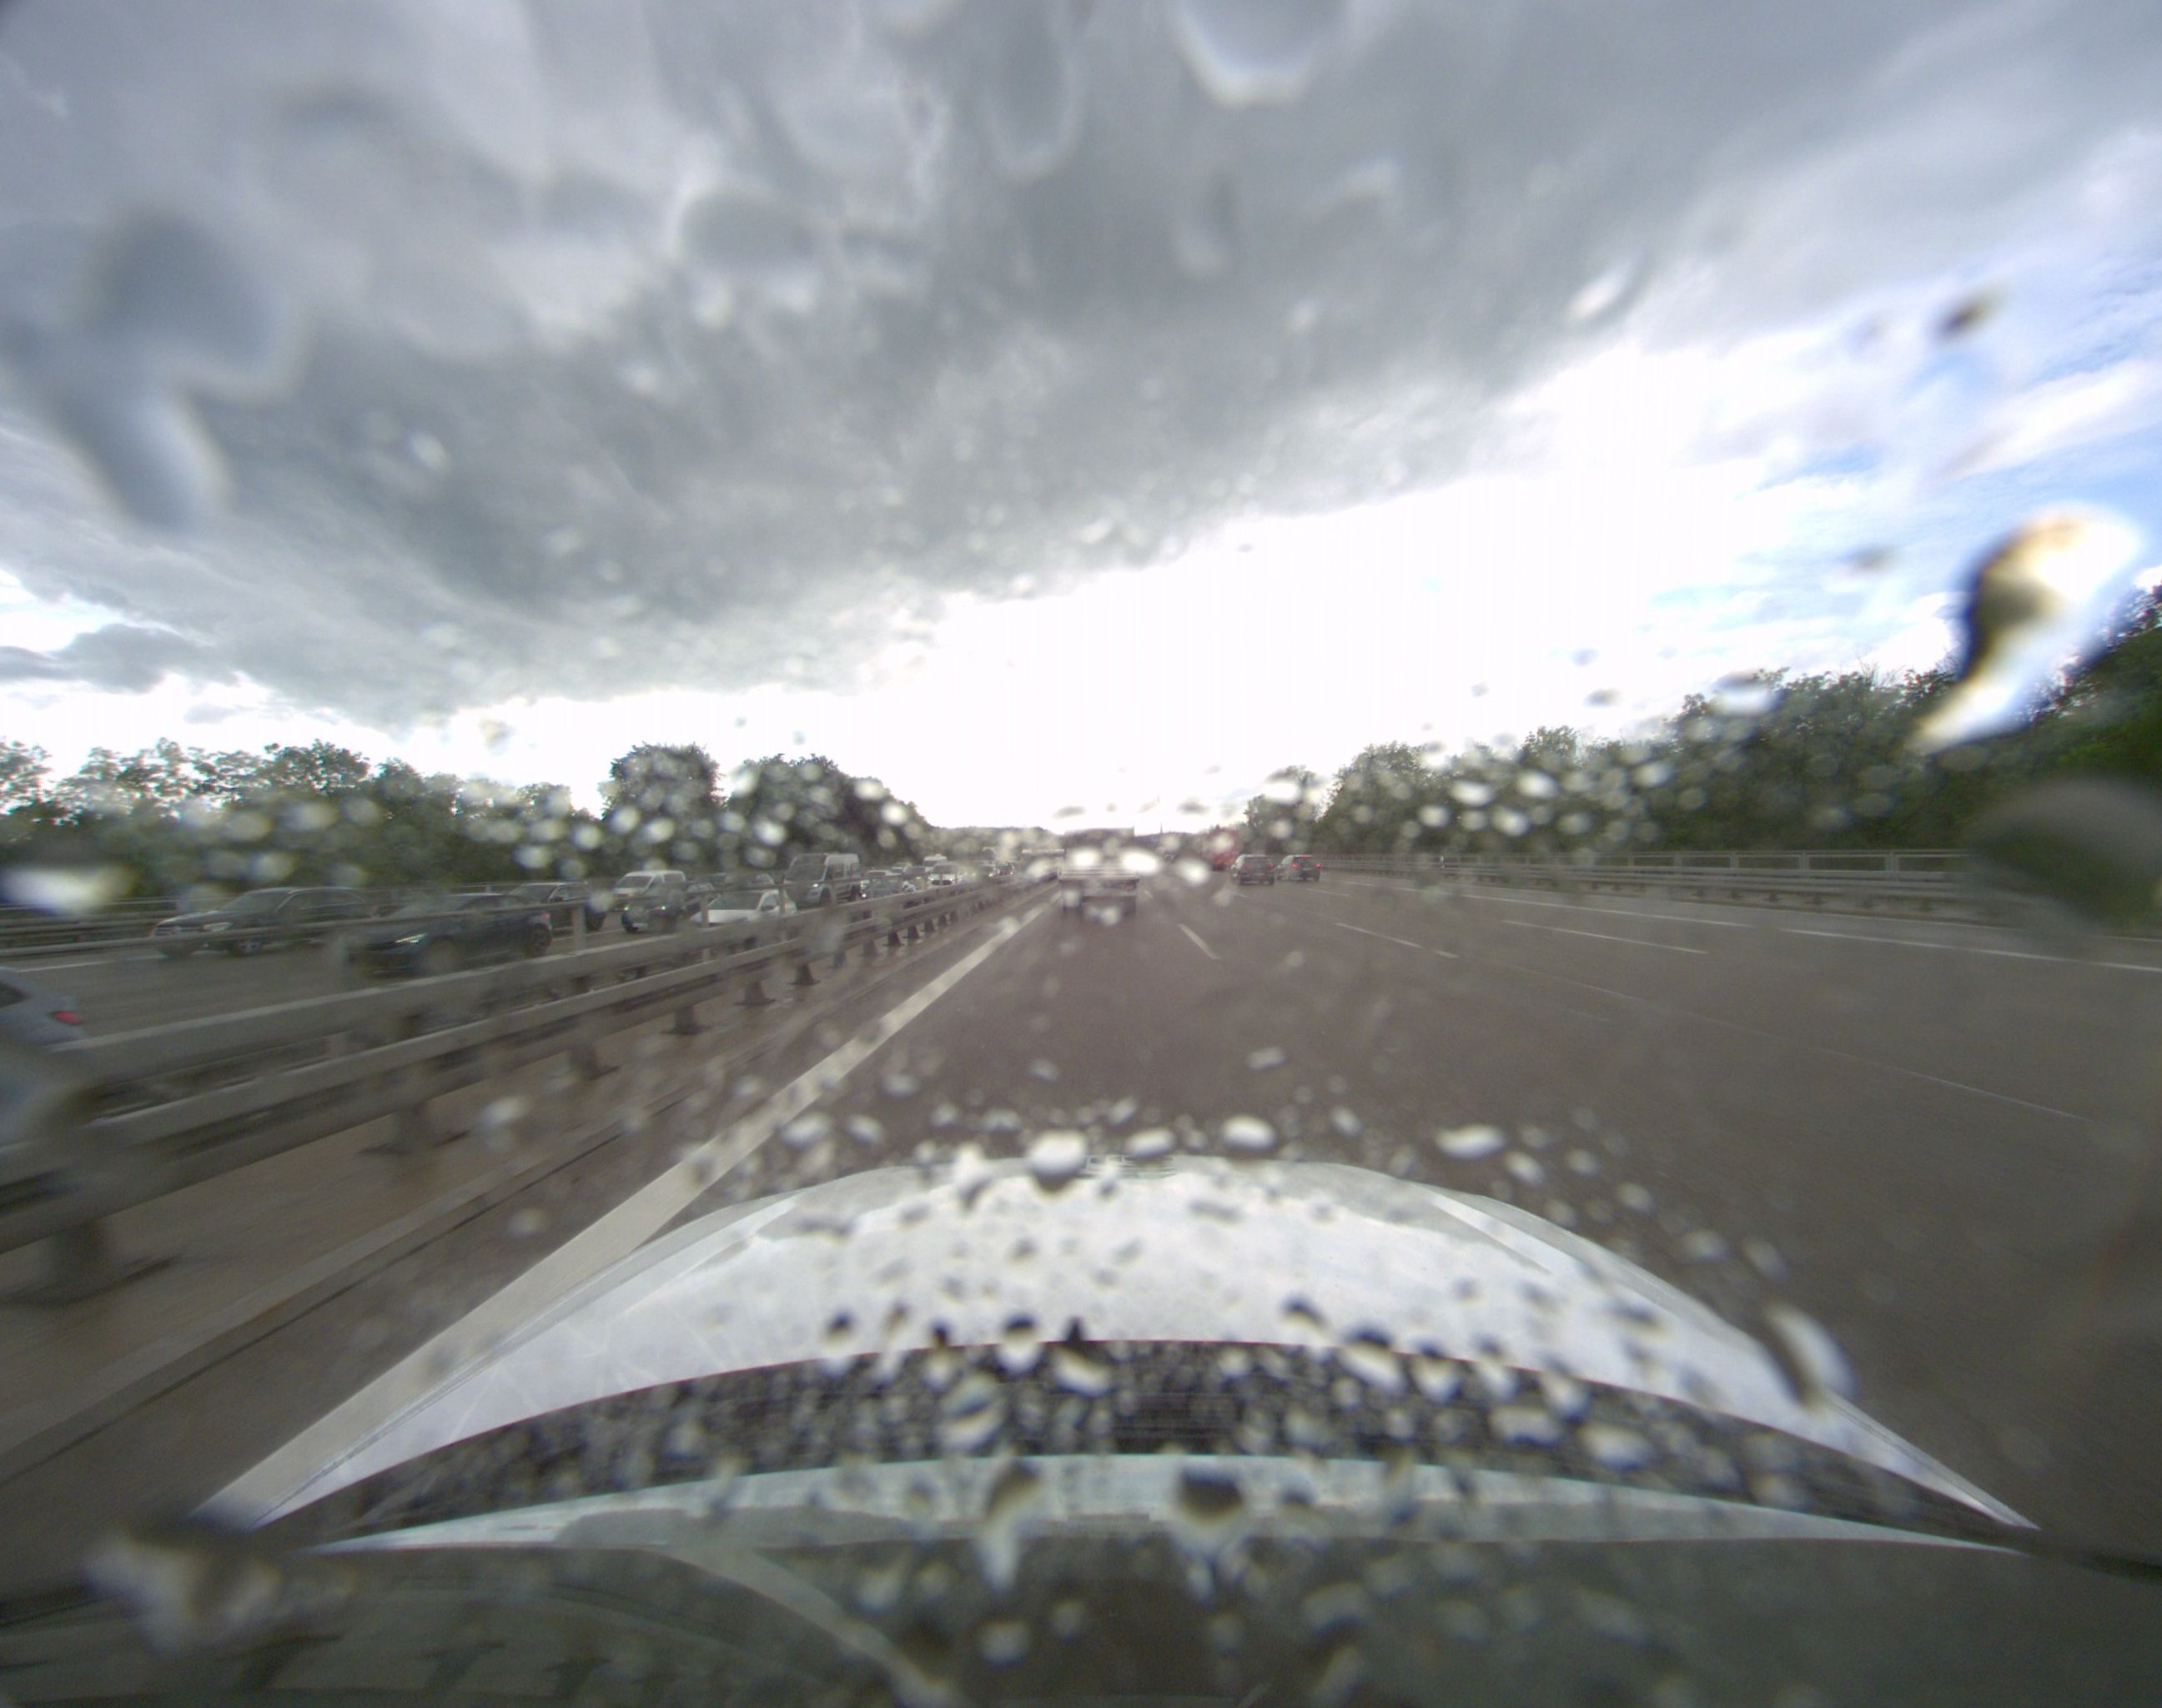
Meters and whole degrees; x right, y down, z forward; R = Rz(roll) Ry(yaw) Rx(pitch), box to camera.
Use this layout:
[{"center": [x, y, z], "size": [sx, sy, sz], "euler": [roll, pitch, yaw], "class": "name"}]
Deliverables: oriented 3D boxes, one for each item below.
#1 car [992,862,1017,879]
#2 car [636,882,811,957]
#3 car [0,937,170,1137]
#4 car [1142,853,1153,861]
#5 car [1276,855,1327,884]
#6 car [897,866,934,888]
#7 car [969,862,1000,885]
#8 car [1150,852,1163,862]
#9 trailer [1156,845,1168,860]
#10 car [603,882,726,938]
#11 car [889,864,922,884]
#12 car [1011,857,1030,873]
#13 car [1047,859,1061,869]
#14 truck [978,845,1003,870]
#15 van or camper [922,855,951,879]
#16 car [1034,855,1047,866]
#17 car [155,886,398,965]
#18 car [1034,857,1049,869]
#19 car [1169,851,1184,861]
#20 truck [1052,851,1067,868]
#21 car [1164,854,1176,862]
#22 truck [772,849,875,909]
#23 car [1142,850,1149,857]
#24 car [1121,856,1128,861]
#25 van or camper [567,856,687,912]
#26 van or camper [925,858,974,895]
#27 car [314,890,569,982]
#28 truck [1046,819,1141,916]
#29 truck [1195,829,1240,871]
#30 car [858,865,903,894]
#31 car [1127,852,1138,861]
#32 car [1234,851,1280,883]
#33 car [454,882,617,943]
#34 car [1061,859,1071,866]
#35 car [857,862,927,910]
[{"center": [-7.433, 1.585, 79.500], "size": [1.867, 1.392, 5.365], "euler": [-2, 0, 1], "class": "car"}, {"center": [-9.280, 1.621, 21.852], "size": [1.824, 1.475, 5.928], "euler": [-2, 0, 3], "class": "car"}, {"center": [-9.885, 1.597, 5.380], "size": [1.946, 1.514, 5.071], "euler": [-2, 0, 1], "class": "car"}, {"center": [13.976, 0.589, 171.415], "size": [2.037, 1.699, 4.003], "euler": [-1, 0, 3], "class": "car"}, {"center": [12.587, 0.841, 46.753], "size": [1.808, 1.543, 4.359], "euler": [-1, 0, 1], "class": "car"}, {"center": [-12.300, 1.690, 60.870], "size": [1.671, 1.409, 5.016], "euler": [-2, 0, 1], "class": "car"}, {"center": [-7.866, 1.534, 66.683], "size": [1.819, 1.675, 5.358], "euler": [-2, 0, 1], "class": "car"}, {"center": [13.992, 0.587, 151.383], "size": [2.090, 1.699, 4.001], "euler": [-1, 0, 1], "class": "car"}, {"center": [22.530, -0.330, 227.322], "size": [3.317, 4.176, 11.853], "euler": [-1, 0, 5], "class": "trailer"}, {"center": [-13.340, 1.737, 26.405], "size": [1.825, 1.475, 4.033], "euler": [-2, 0, 1], "class": "car"}, {"center": [-14.661, 1.630, 68.151], "size": [1.784, 1.501, 4.000], "euler": [-2, 0, 0], "class": "car"}, {"center": [-7.479, 1.311, 101.066], "size": [1.859, 1.826, 5.709], "euler": [-2, 0, 1], "class": "car"}, {"center": [-4.409, 1.546, 131.721], "size": [1.987, 1.463, 4.842], "euler": [-2, 0, 1], "class": "car"}, {"center": [-15.977, 0.552, 143.951], "size": [3.234, 4.250, 6.887], "euler": [-2, 0, 3], "class": "truck"}, {"center": [-17.808, 1.502, 100.702], "size": [2.194, 2.765, 7.232], "euler": [-2, 0, 1], "class": "van or camper"}, {"center": [-9.358, 1.420, 188.141], "size": [2.147, 2.504, 6.777], "euler": [-2, 0, 3], "class": "car"}, {"center": [-21.107, 1.788, 21.718], "size": [1.680, 1.647, 4.671], "euler": [-2, 0, 2], "class": "car"}, {"center": [-5.645, 1.260, 117.427], "size": [1.861, 1.669, 5.174], "euler": [-2, 0, 1], "class": "car"}, {"center": [17.217, 0.364, 147.202], "size": [2.097, 1.605, 5.067], "euler": [-1, 0, 1], "class": "car"}, {"center": [-5.410, 1.405, 205.067], "size": [2.869, 4.180, 7.562], "euler": [-2, 0, 3], "class": "truck"}, {"center": [18.590, 0.766, 169.675], "size": [2.038, 1.699, 5.008], "euler": [-1, 0, 1], "class": "car"}, {"center": [-12.655, 1.120, 40.892], "size": [2.138, 2.602, 8.758], "euler": [-2, 0, 1], "class": "truck"}, {"center": [18.169, -0.112, 229.116], "size": [1.985, 1.739, 4.004], "euler": [-1, 0, 4], "class": "car"}, {"center": [12.608, 1.278, 234.531], "size": [1.805, 1.446, 4.002], "euler": [-2, 0, 2], "class": "car"}, {"center": [-20.776, 1.291, 37.692], "size": [2.038, 2.330, 5.936], "euler": [-2, 0, 1], "class": "van or camper"}, {"center": [-8.090, 1.314, 50.616], "size": [1.977, 2.068, 5.643], "euler": [-2, 0, 1], "class": "van or camper"}, {"center": [-13.603, 1.662, 17.781], "size": [1.825, 1.475, 4.577], "euler": [-2, 0, 1], "class": "car"}, {"center": [0.403, 0.340, 24.003], "size": [2.344, 2.408, 7.360], "euler": [0, 0, 1], "class": "truck"}, {"center": [14.194, -0.413, 86.053], "size": [3.138, 4.003, 15.653], "euler": [-1, 0, 4], "class": "truck"}, {"center": [-12.290, 1.555, 50.174], "size": [1.671, 1.636, 4.000], "euler": [-2, 0, 1], "class": "car"}, {"center": [10.676, 0.506, 168.809], "size": [1.965, 1.699, 4.001], "euler": [-1, 0, 1], "class": "car"}, {"center": [9.085, 0.637, 42.329], "size": [1.784, 1.562, 3.725], "euler": [-1, 0, 3], "class": "car"}, {"center": [-16.680, 1.727, 25.234], "size": [1.825, 1.512, 4.586], "euler": [-2, 0, 1], "class": "car"}, {"center": [-2.841, 1.617, 157.912], "size": [1.756, 1.383, 4.822], "euler": [-2, 0, 1], "class": "car"}, {"center": [-8.576, 1.411, 37.436], "size": [1.941, 1.949, 4.727], "euler": [-2, 0, 2], "class": "car"}]
